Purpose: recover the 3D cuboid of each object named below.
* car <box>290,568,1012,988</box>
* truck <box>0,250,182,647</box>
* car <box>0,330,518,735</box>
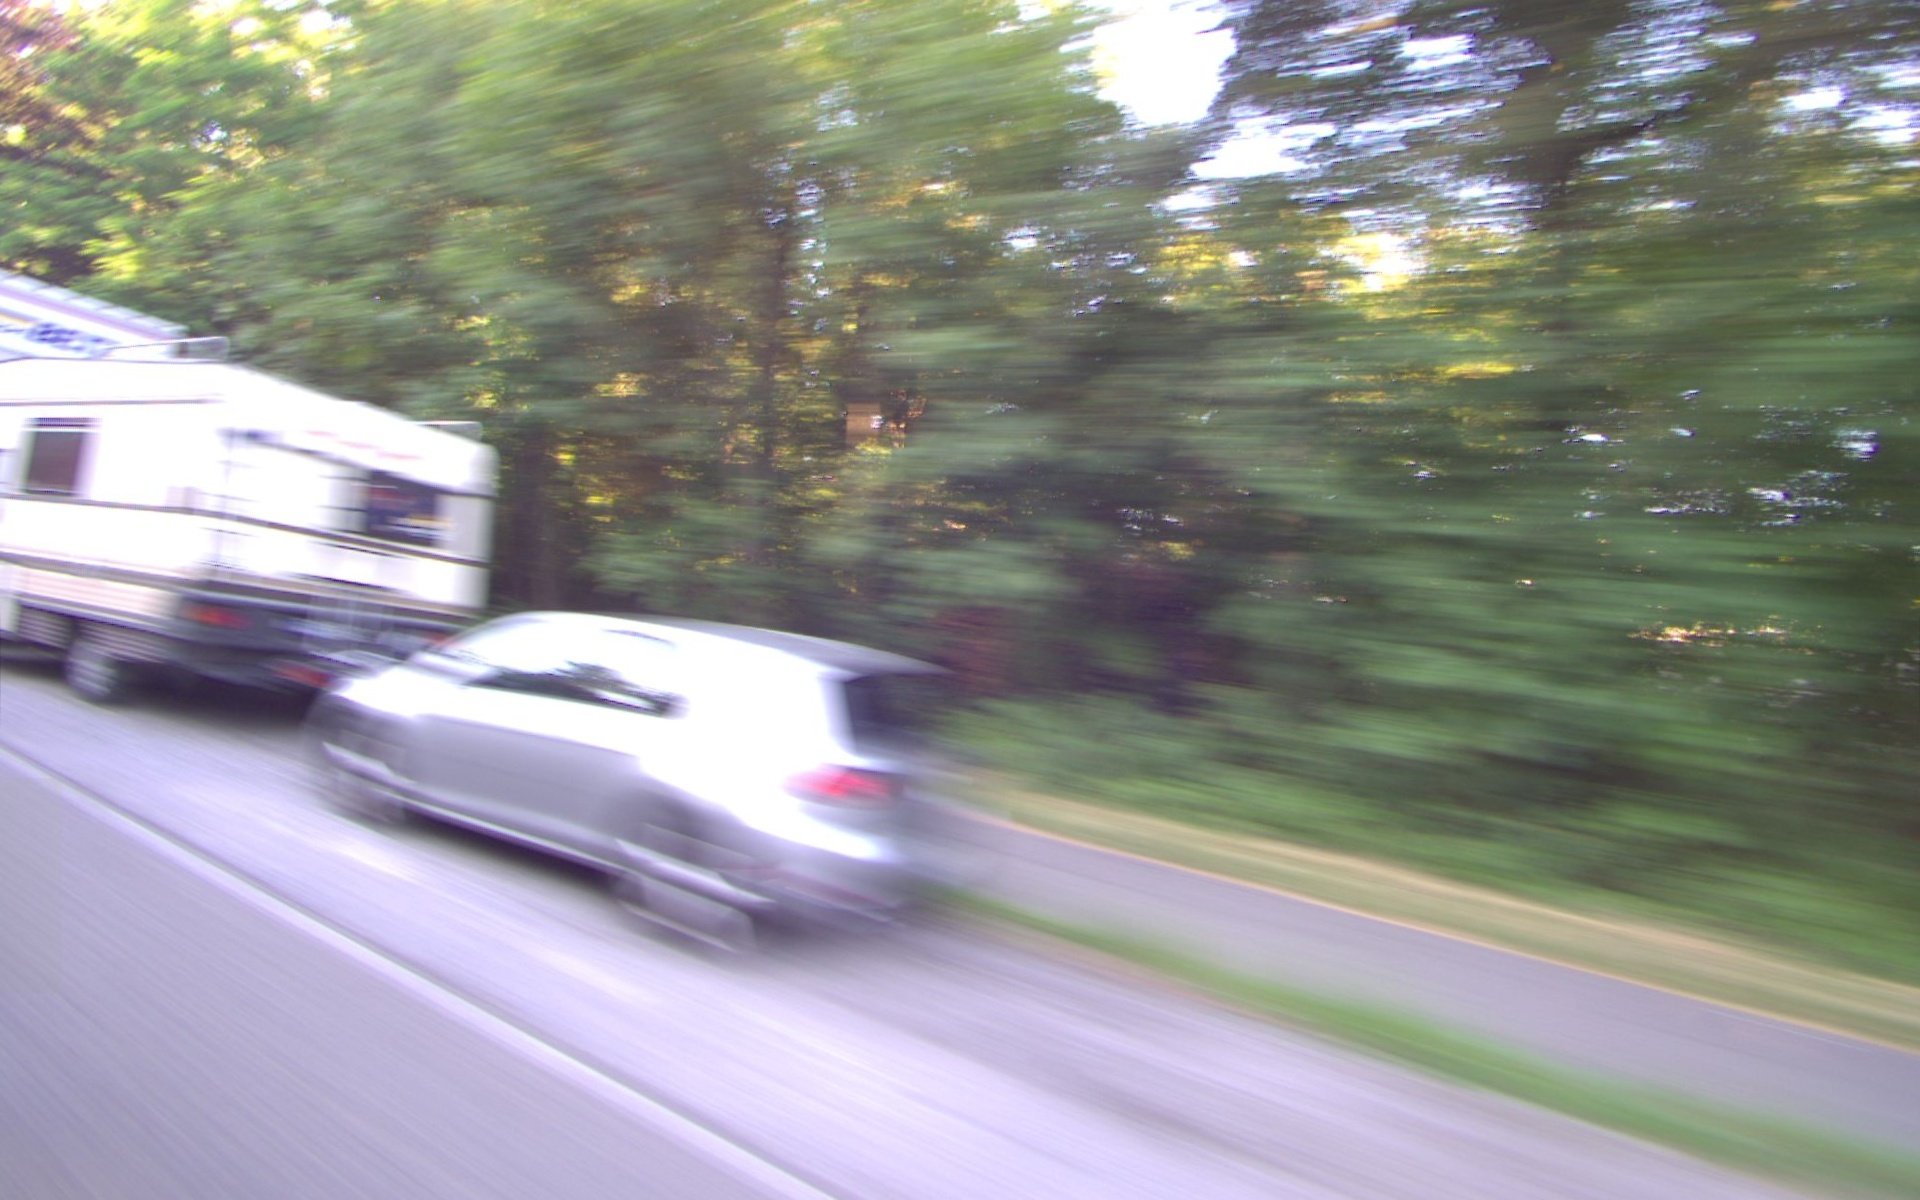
[{"bbox_3d":[-1.923,0.771,5.942,4.006,1.423,1.701,7,0,30],"label":"car"},{"bbox_3d":[-14.105,-2.080,13.343,9.564,4.074,2.662,7,-1,33],"label":"truck"},{"bbox_3d":[-7.339,-0.651,9.576,5.830,2.890,2.415,7,-2,29],"label":"car"}]
